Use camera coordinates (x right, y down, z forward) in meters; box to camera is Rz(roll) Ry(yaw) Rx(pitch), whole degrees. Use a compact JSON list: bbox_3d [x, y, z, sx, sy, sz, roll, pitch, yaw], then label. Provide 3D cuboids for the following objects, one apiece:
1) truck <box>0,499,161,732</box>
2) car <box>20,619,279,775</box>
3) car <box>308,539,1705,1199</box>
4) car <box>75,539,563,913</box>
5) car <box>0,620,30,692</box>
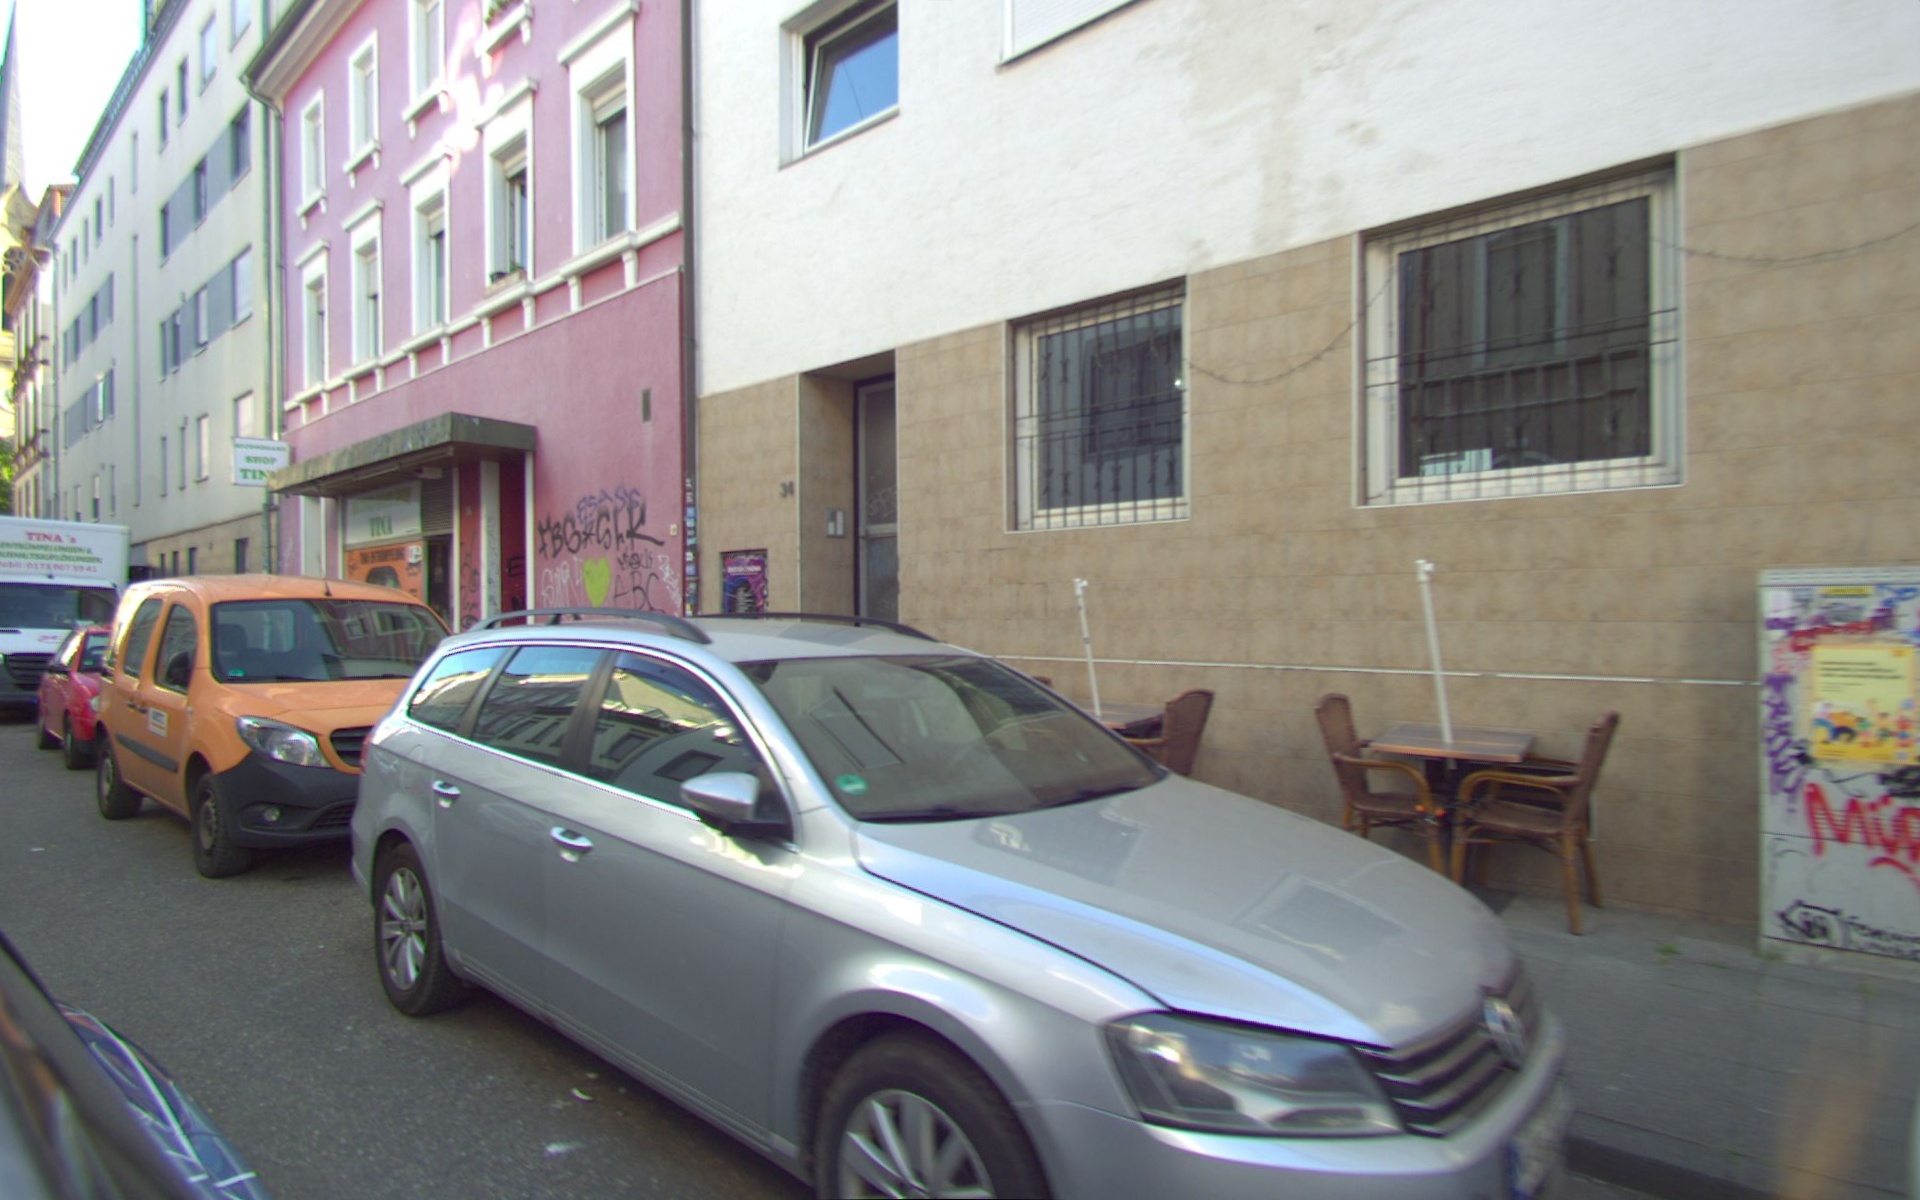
[{"bbox_3d":[-15.381,0.262,16.771,7.044,3.207,2.266,-1,-2,43],"label":"truck"},{"bbox_3d":[-9.238,0.956,11.444,3.658,1.477,1.665,-1,-2,41],"label":"car"},{"bbox_3d":[-0.446,0.728,3.316,4.529,1.508,1.656,-1,-2,41],"label":"car"},{"bbox_3d":[-4.688,0.660,7.132,4.242,1.859,1.783,-1,-2,41],"label":"car"},{"bbox_3d":[-23.090,1.241,23.554,3.912,1.600,1.665,-1,-4,41],"label":"car"}]
